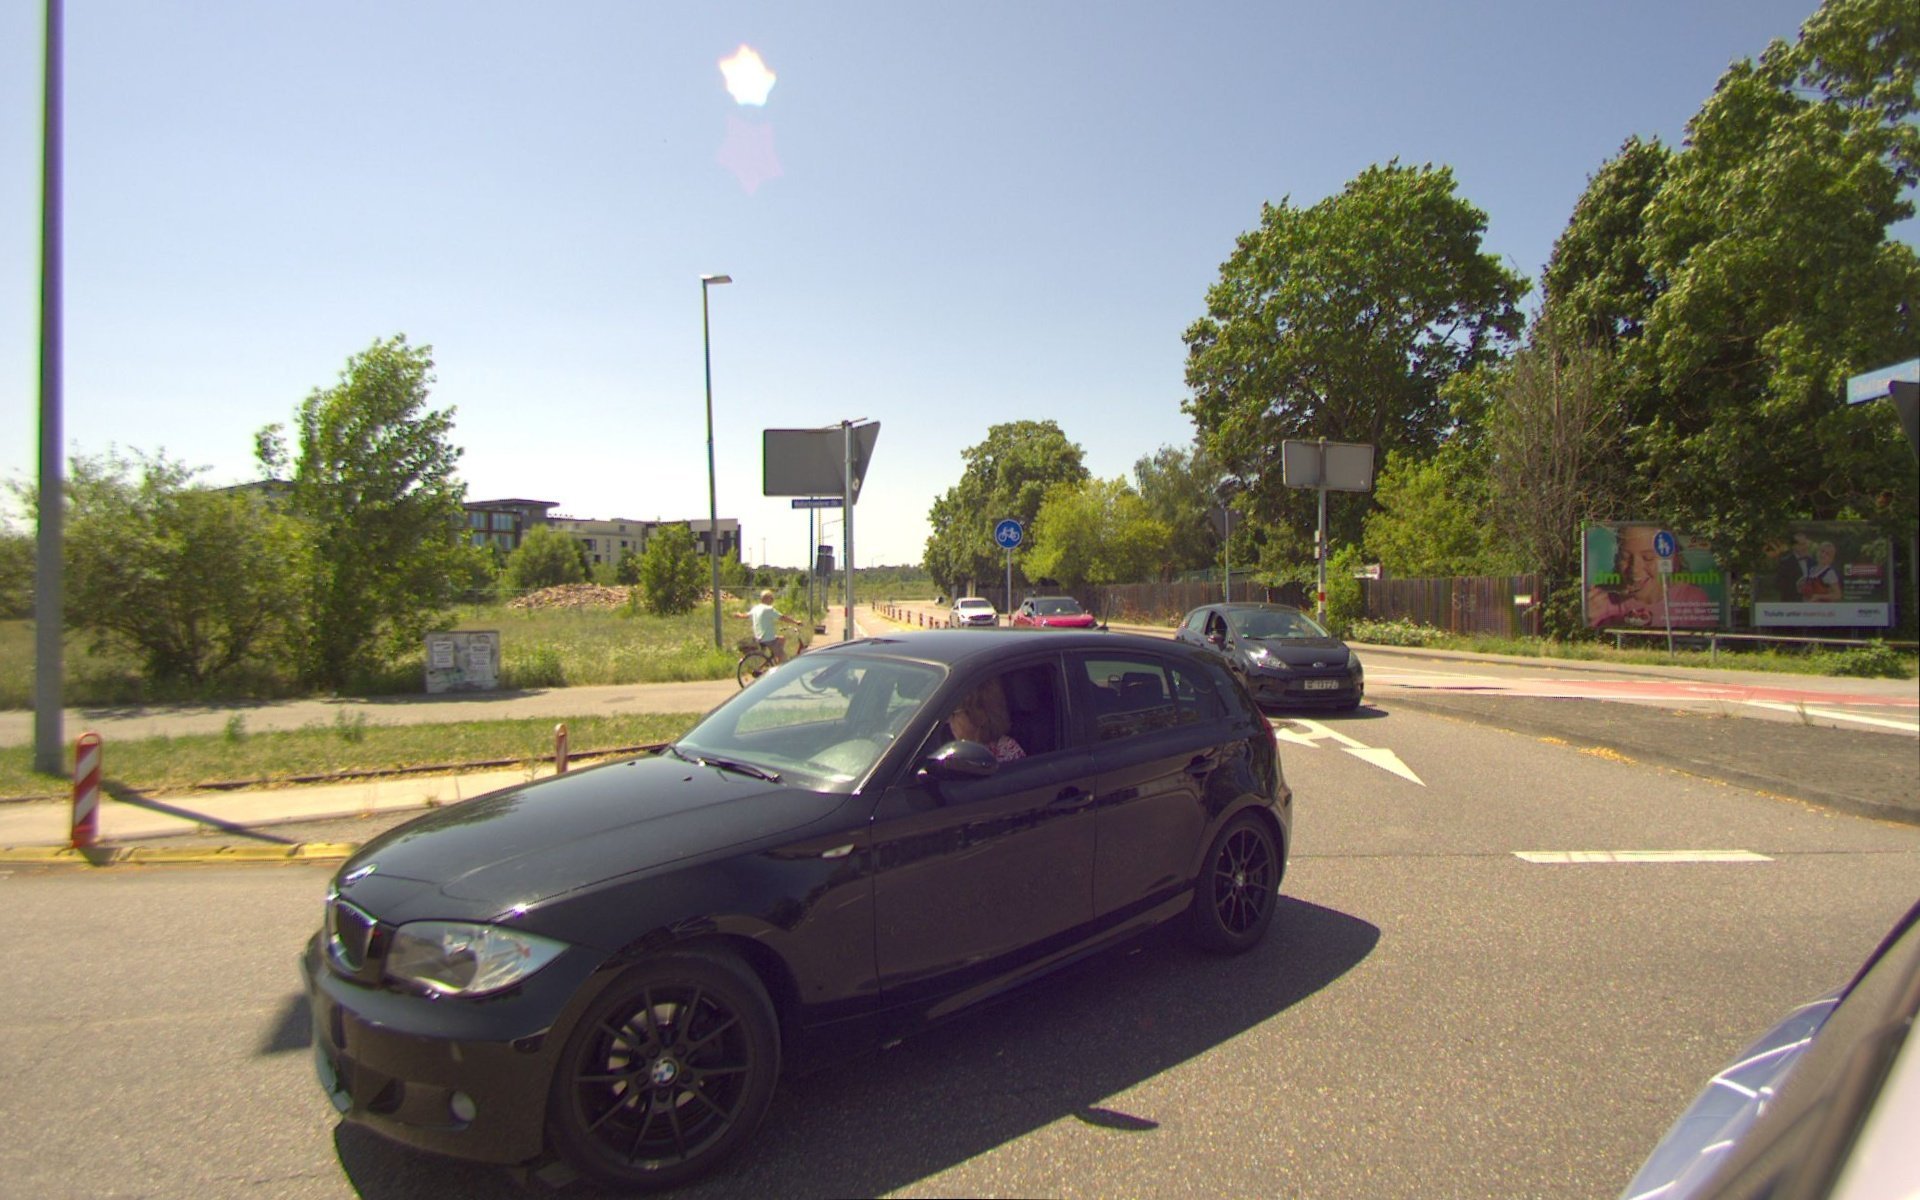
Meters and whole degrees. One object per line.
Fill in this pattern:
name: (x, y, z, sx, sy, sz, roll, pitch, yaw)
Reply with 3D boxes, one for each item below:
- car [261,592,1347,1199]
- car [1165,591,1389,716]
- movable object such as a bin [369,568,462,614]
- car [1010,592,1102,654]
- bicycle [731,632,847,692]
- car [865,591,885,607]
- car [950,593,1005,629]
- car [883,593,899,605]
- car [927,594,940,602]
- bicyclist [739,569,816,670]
car: (-0.340, 0.727, 4.049, 3.928, 1.458, 1.800, -1, -1, -39)
car: (4.304, 0.644, 14.390, 1.601, 1.527, 3.824, 0, 0, -6)
movable object such as a bin: (-40.934, -0.755, 76.385, 2.761, 3.188, 7.605, -2, 1, 1)
car: (2.571, 0.575, 28.030, 1.686, 1.547, 4.217, 0, 0, -6)
bicycle: (-2.923, 1.037, 17.334, 1.838, 0.890, 0.630, -2, 1, -27)
car: (-8.414, -0.112, 100.252, 1.724, 1.564, 3.700, 0, 0, -9)
car: (0.719, 0.453, 44.361, 1.826, 1.446, 4.005, -2, 1, -7)
car: (-9.189, -0.091, 134.928, 1.724, 1.564, 3.700, 0, 0, -9)
car: (-4.987, -0.314, 190.631, 1.683, 1.482, 3.850, 1, 0, -12)
bicyclist: (-3.127, 0.319, 17.323, 1.139, 1.661, 0.750, 0, 0, -26)
